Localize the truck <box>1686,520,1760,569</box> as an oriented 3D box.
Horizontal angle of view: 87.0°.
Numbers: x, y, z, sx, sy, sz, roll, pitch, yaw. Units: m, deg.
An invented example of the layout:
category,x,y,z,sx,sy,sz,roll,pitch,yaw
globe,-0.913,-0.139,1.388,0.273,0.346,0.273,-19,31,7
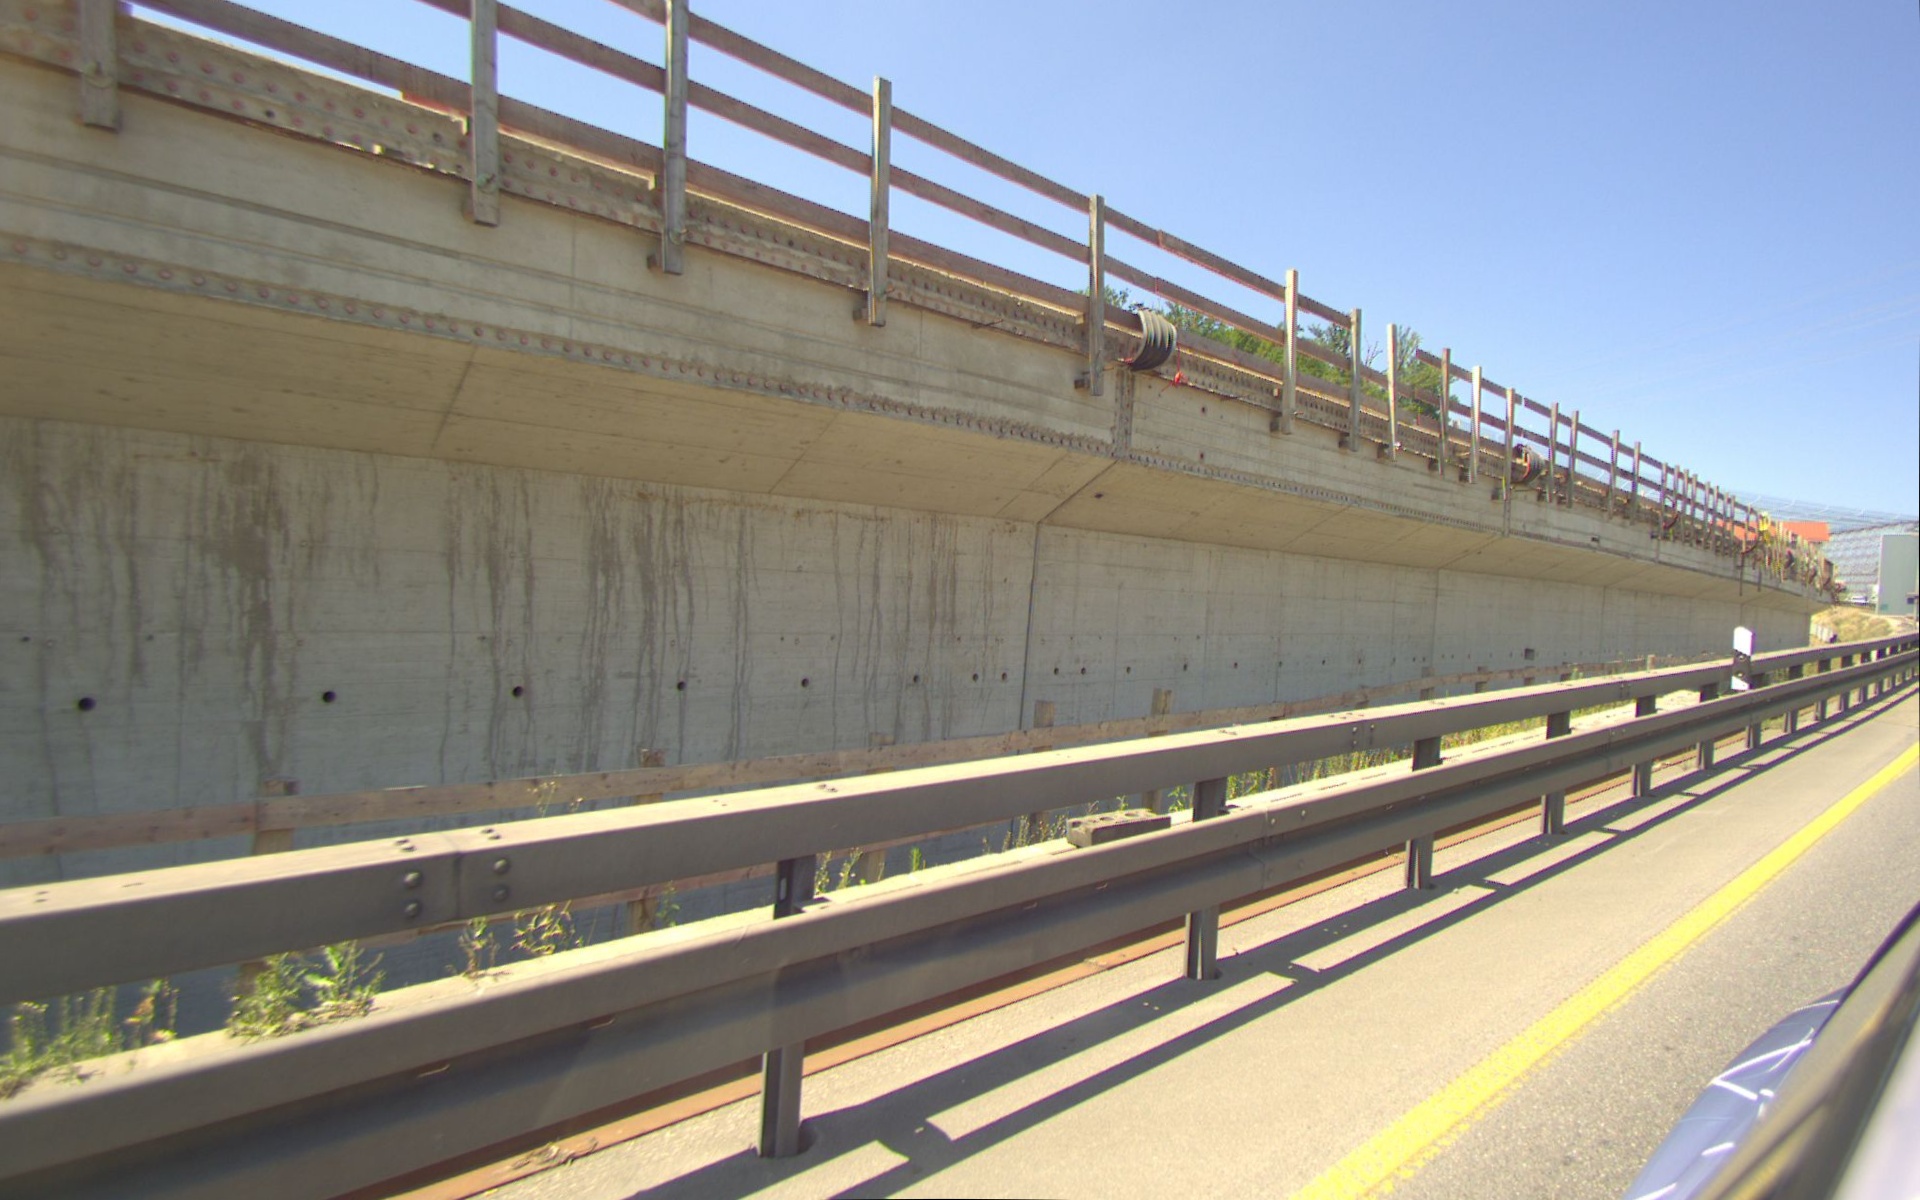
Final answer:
category,x,y,z,sx,sy,sz,roll,pitch,yaw
truck,66.124,-4.752,87.715,5.591,3.741,2.725,3,0,-24
